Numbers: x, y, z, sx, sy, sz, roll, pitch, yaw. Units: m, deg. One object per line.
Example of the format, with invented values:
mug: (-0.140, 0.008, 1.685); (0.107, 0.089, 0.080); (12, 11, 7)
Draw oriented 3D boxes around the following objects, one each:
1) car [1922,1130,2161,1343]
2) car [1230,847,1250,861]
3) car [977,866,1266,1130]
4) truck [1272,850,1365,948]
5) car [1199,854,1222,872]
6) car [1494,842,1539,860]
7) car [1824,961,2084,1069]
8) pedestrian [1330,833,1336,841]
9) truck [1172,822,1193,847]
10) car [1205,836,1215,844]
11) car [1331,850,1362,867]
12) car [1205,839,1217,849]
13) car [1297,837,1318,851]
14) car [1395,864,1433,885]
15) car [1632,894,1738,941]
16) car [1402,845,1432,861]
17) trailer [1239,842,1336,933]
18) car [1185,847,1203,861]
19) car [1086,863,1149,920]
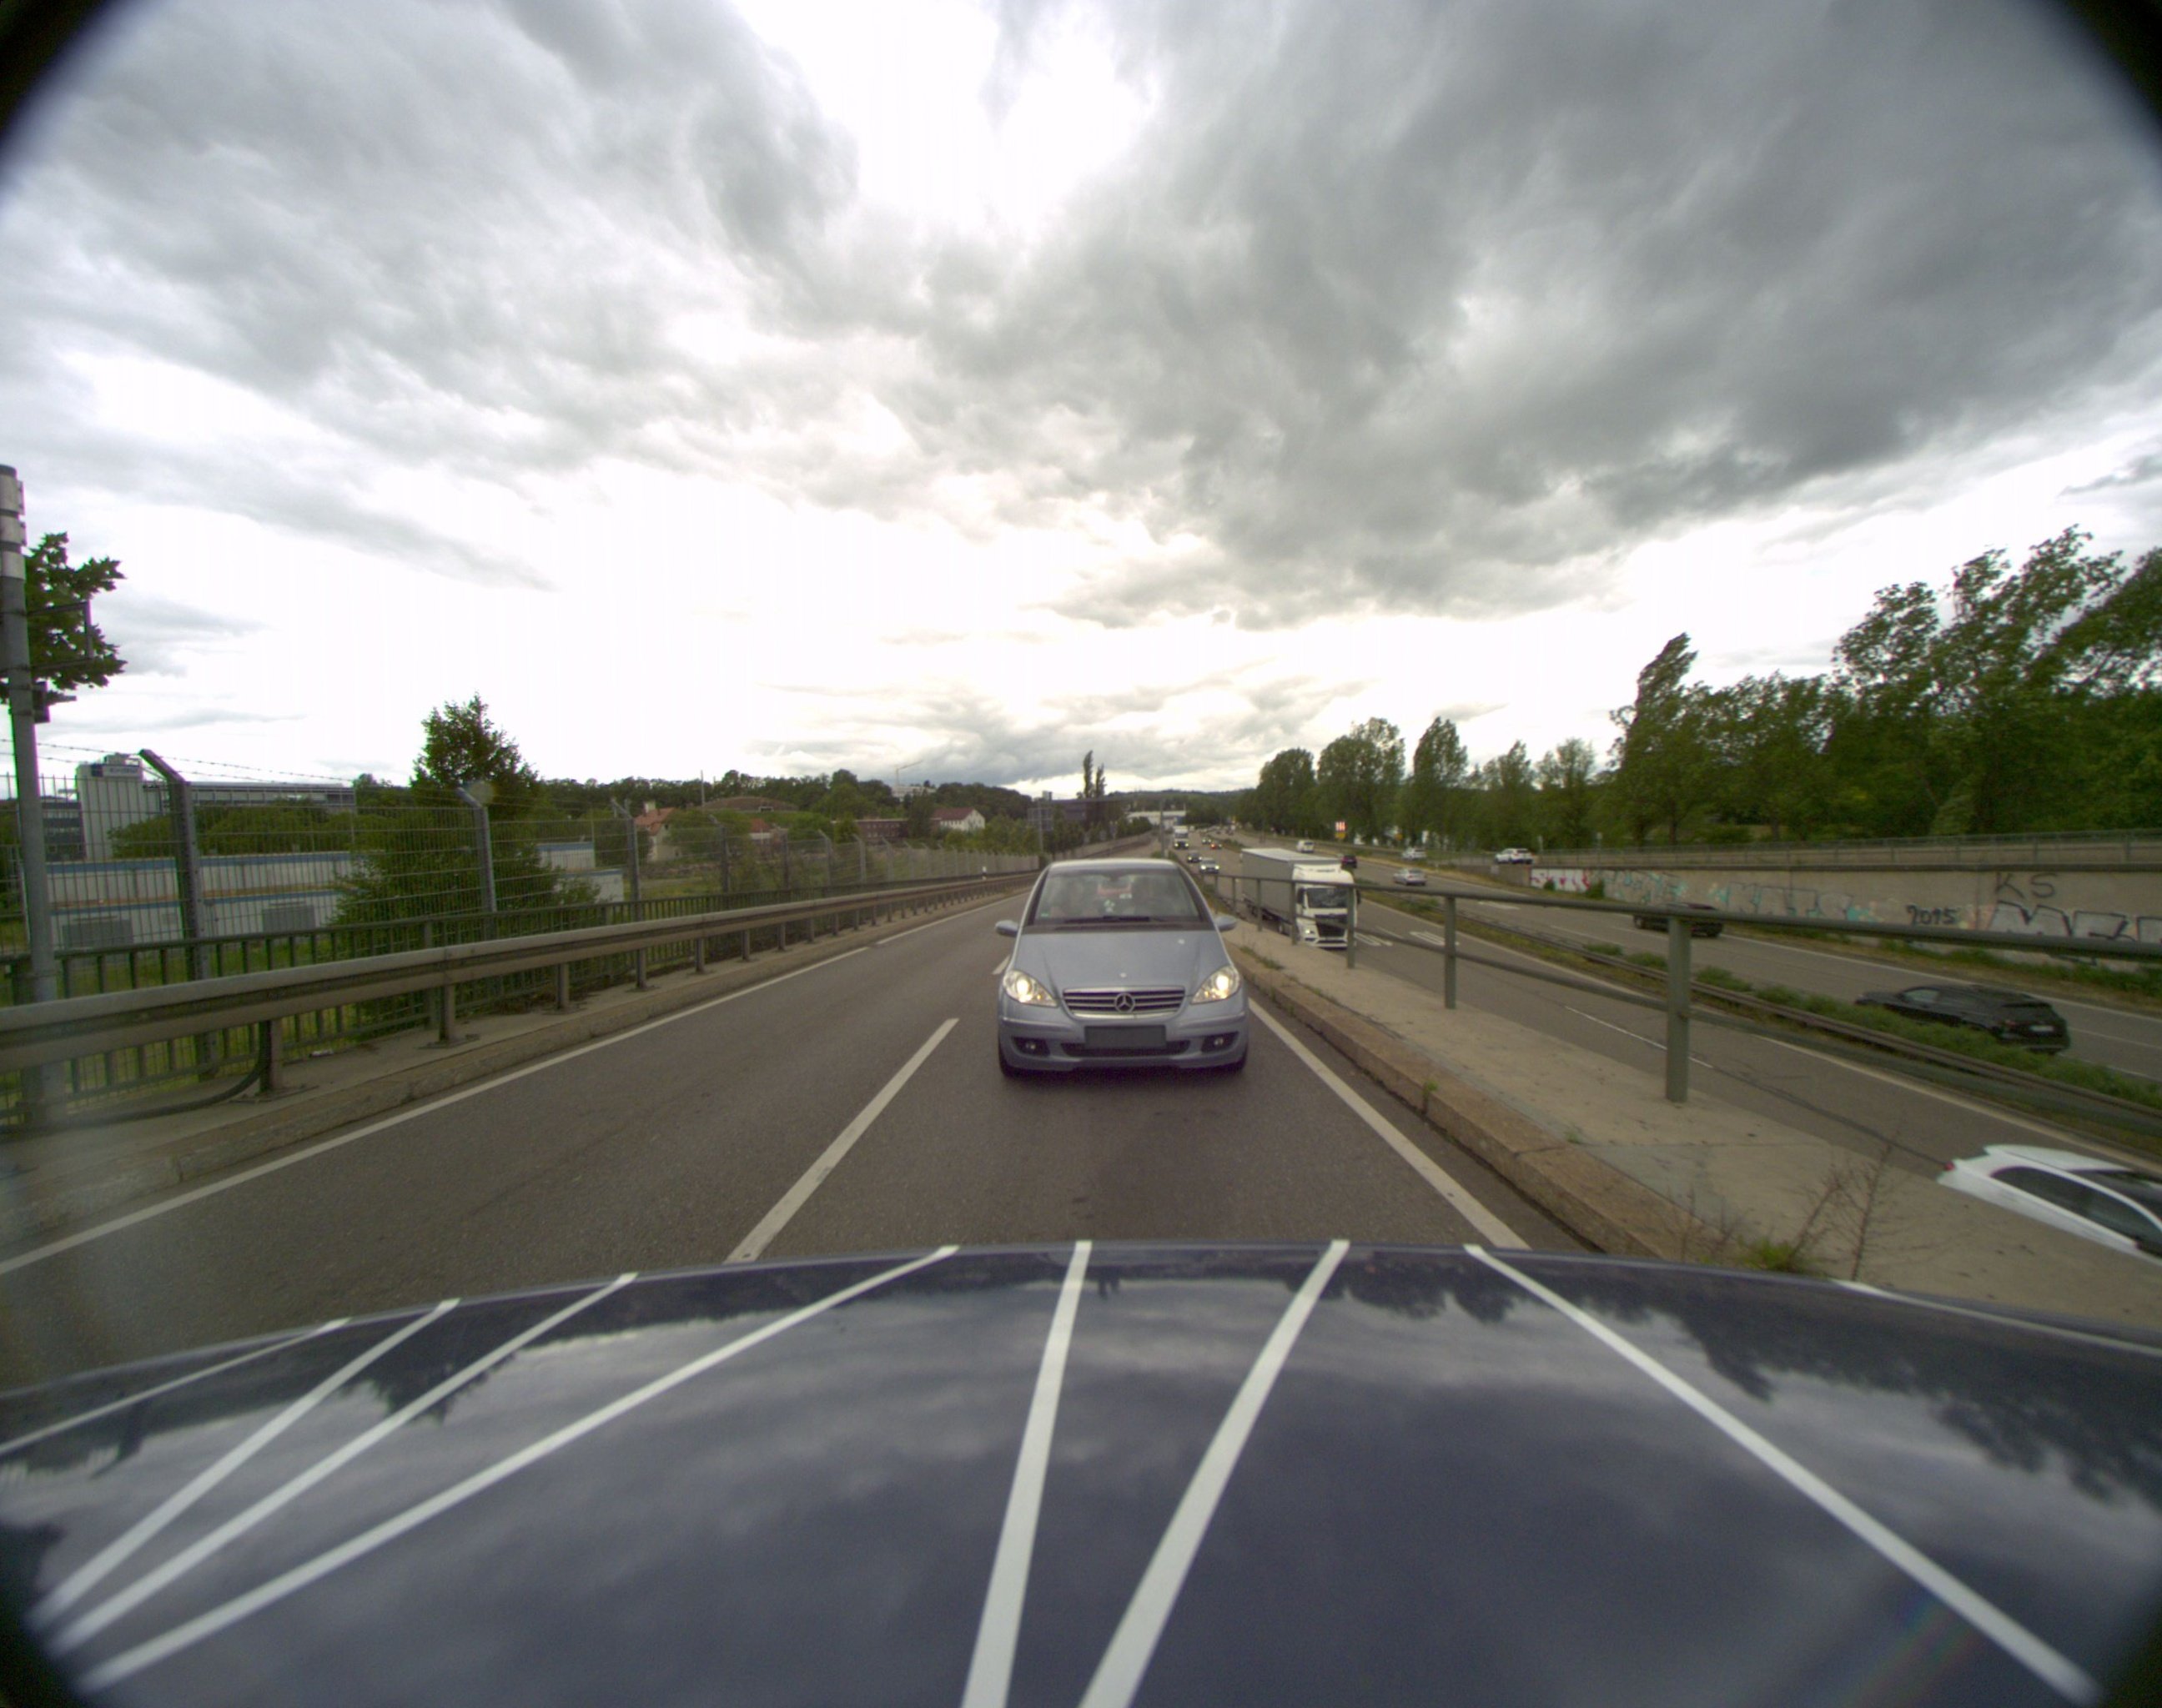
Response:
car: (13.755, 5.034, 9.416); (1.920, 1.411, 4.274); (-1, 4, 1)
car: (21.443, 0.013, 102.757); (1.858, 1.598, 4.164); (4, 3, 2)
car: (0.340, 0.944, 6.790); (1.780, 1.578, 4.001); (-1, 0, 3)
truck: (11.721, 2.053, 38.139); (2.758, 4.228, 6.695); (0, 3, 2)
car: (14.013, 0.952, 82.339); (1.858, 1.598, 4.164); (-1, 3, 2)
car: (41.068, -0.258, 71.769); (1.837, 1.567, 4.347); (-1, 0, 3)
car: (23.602, 4.268, 20.883); (1.998, 1.831, 4.421); (0, 3, 1)
pedestrian: (53.786, -3.688, 162.046); (0.831, 1.696, 1.077); (-2, 4, 3)
truck: (19.302, -3.826, 145.104); (3.179, 4.501, 11.121); (-1, 3, 4)
car: (28.535, -3.139, 168.331); (1.857, 1.598, 4.166); (-1, 3, 7)
car: (30.646, 0.468, 87.739); (1.920, 1.729, 4.550); (-1, 3, 0)
car: (24.249, -1.910, 141.896); (1.858, 1.598, 4.165); (4, 3, 4)
car: (36.561, -1.688, 122.730); (1.998, 2.056, 5.175); (-2, 3, 2)
car: (29.149, 1.804, 66.574); (1.732, 1.520, 4.086); (0, 3, 4)
car: (30.895, 3.198, 39.067); (1.936, 1.831, 4.408); (-1, 3, 1)
car: (42.696, -0.116, 96.700); (1.998, 1.859, 4.213); (-1, 0, 1)
trailer: (12.015, 1.621, 45.810); (2.758, 4.228, 13.146); (0, 3, 2)
car: (15.054, -0.065, 101.127); (1.858, 1.598, 4.164); (4, 3, 2)
car: (1.195, 1.106, 23.894); (1.780, 1.578, 4.001); (-1, 0, 4)
